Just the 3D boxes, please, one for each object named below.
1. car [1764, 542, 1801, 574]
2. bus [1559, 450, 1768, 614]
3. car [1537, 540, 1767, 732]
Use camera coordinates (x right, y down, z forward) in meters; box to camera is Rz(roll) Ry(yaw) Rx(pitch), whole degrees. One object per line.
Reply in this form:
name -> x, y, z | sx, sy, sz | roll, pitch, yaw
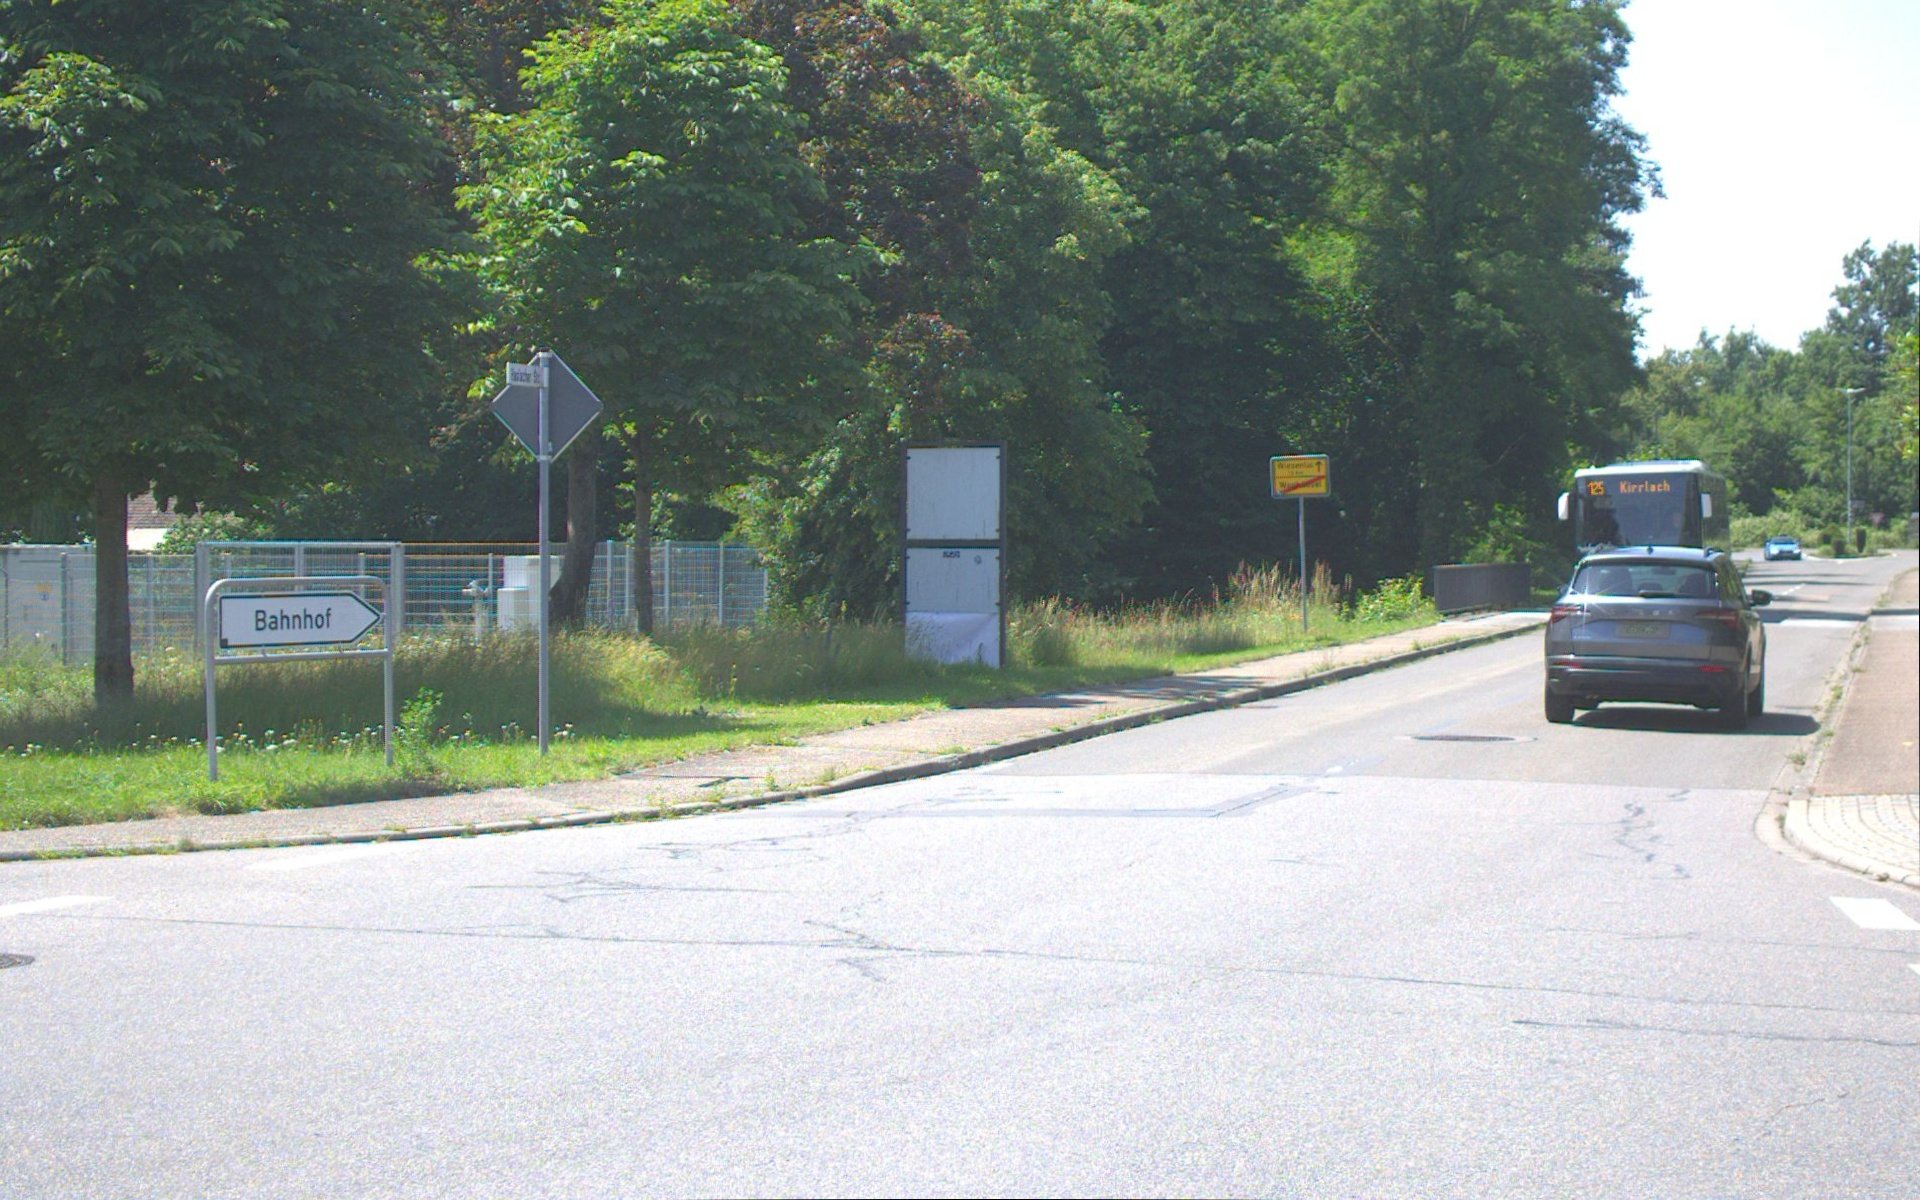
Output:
car -> 48.286, -2.499, 201.889 | 1.952, 1.853, 3.998 | 0, 1, 12
bus -> 15.369, -1.447, 74.268 | 3.184, 3.233, 12.701 | 0, 1, 17
car -> 6.439, 0.295, 31.713 | 1.763, 1.612, 3.997 | 2, 1, 15
